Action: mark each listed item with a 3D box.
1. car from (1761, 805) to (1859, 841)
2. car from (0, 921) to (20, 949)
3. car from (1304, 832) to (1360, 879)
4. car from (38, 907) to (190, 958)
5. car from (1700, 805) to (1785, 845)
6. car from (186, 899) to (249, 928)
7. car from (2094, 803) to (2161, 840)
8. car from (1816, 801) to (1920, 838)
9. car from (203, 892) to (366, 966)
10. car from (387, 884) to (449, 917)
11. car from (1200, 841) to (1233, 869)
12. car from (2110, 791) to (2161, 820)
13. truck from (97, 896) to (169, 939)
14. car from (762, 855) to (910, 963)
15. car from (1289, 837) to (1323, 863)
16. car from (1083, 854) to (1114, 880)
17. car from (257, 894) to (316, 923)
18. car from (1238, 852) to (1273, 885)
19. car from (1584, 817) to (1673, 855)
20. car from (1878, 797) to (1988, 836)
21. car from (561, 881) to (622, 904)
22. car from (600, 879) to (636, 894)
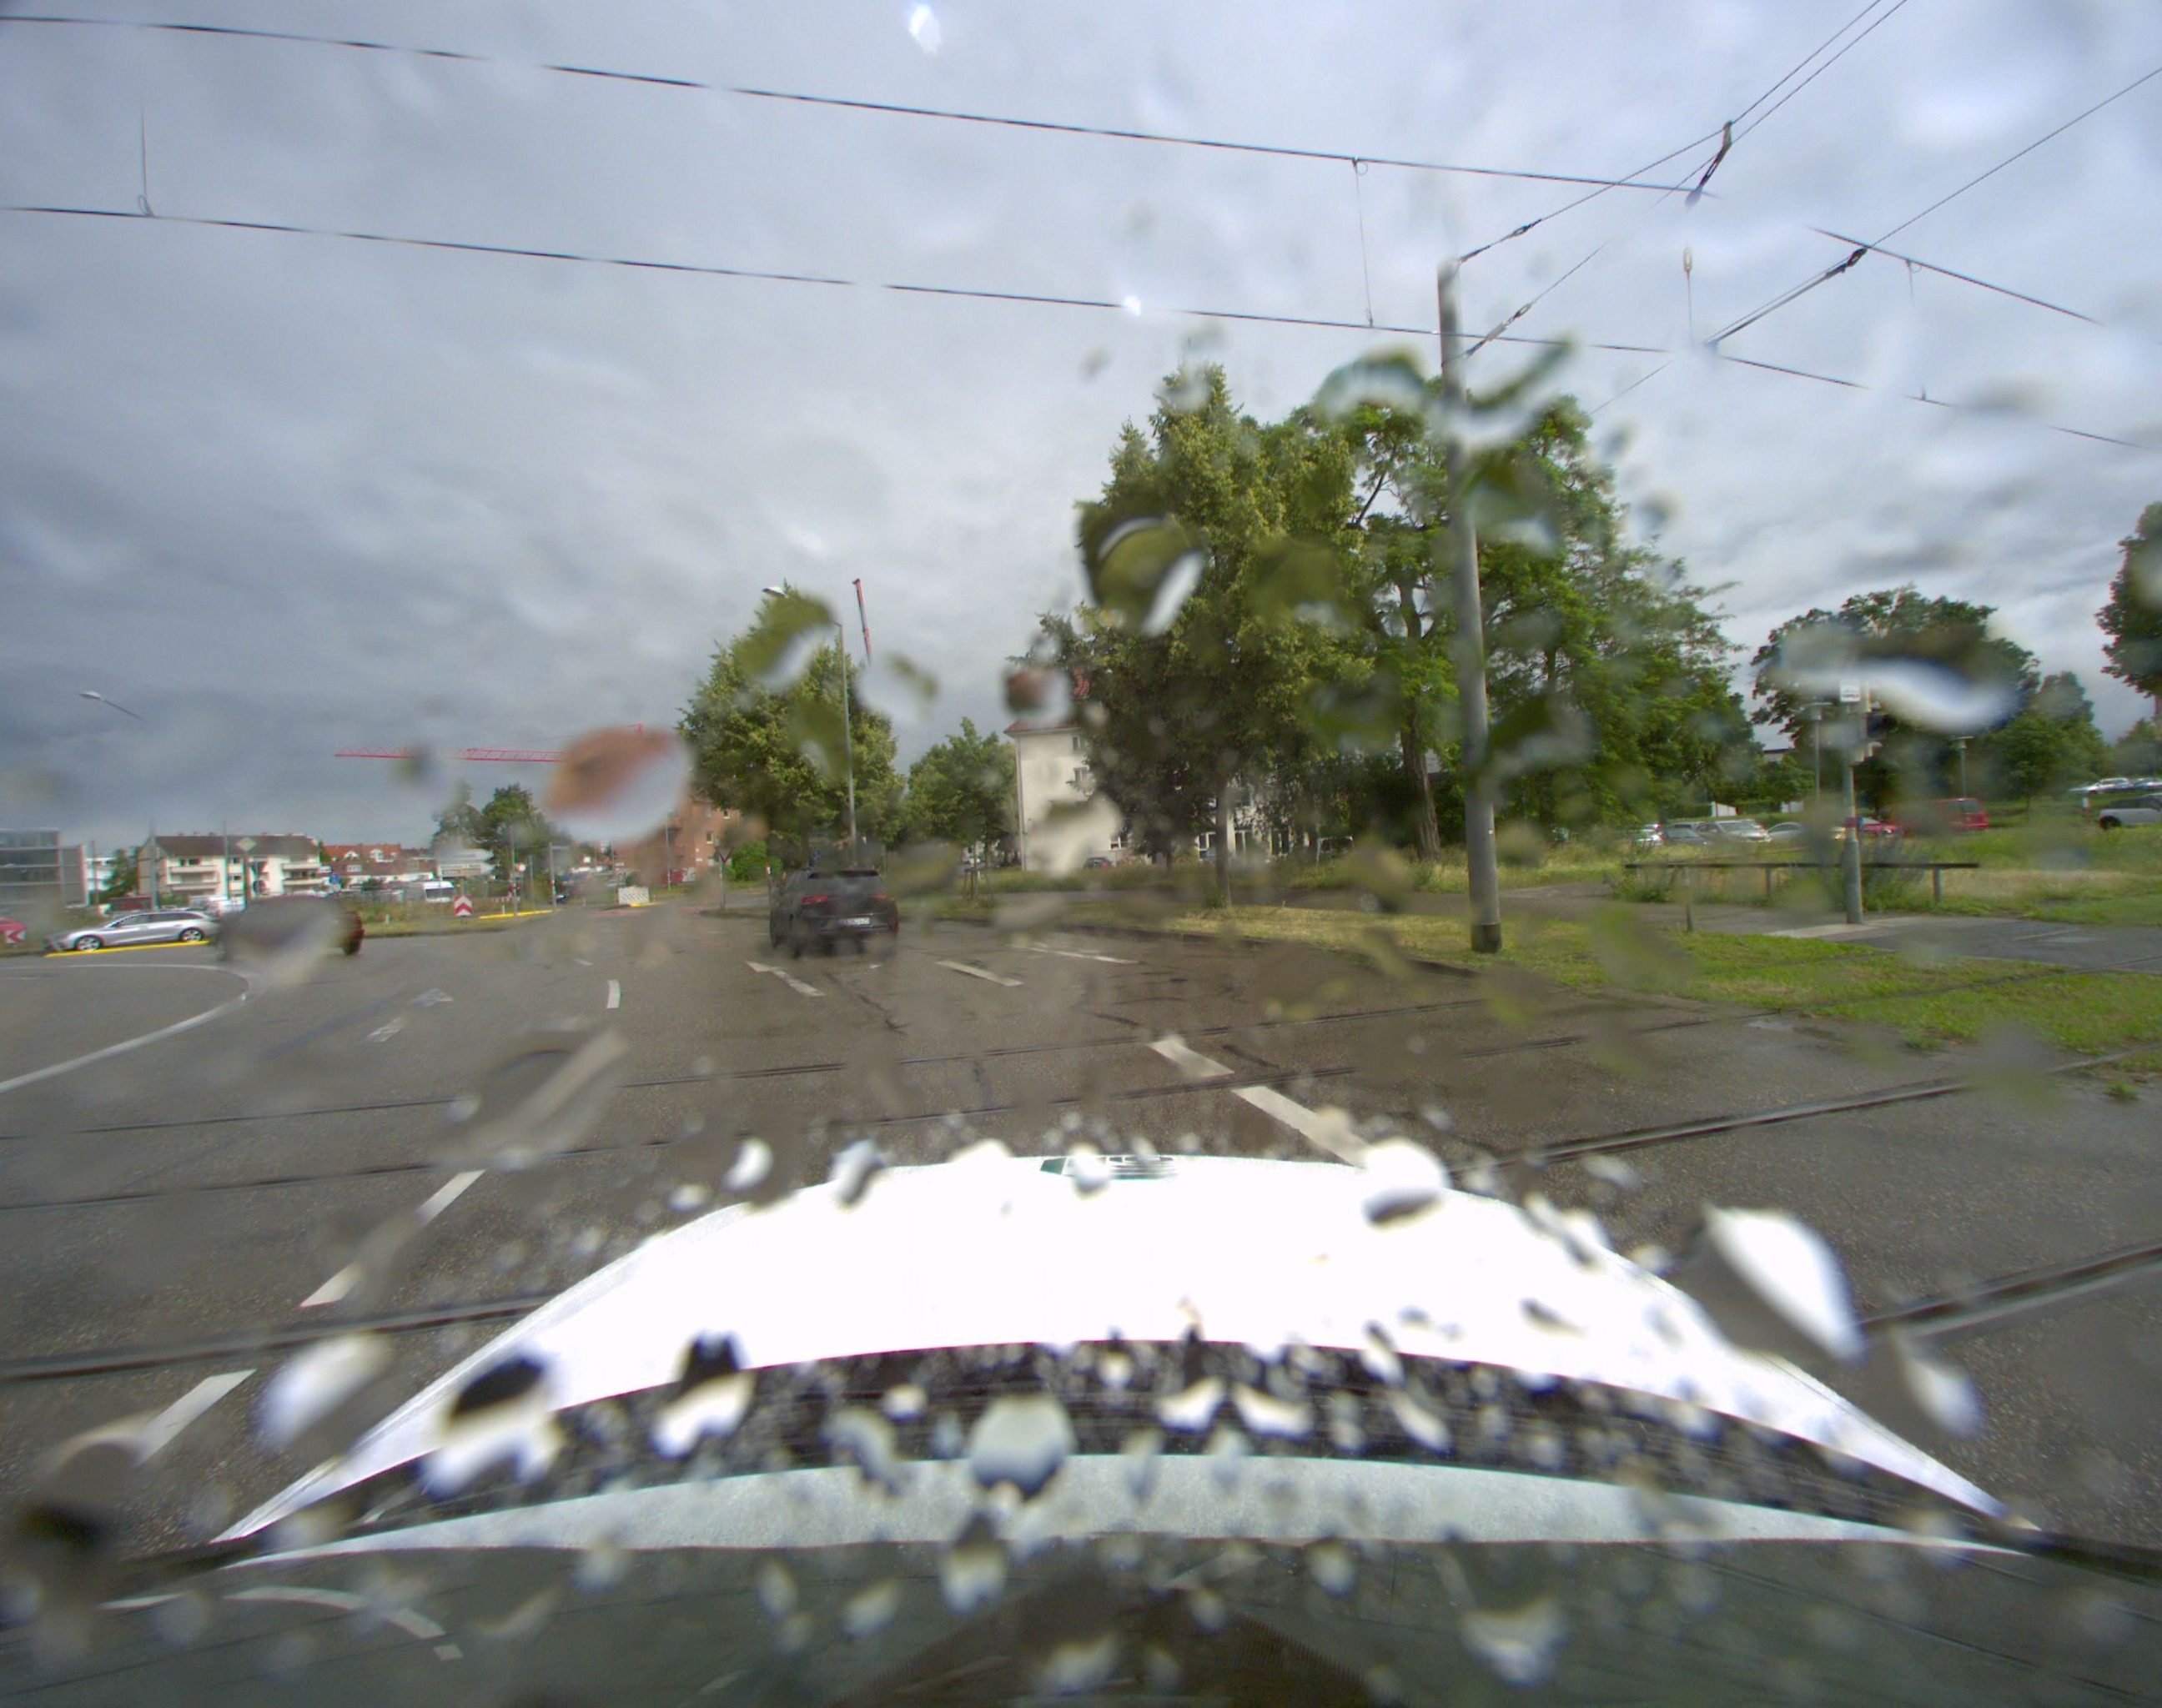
[{"bbox_3d":[32.927,-1.367,36.908,1.629,1.461,3.622,-3,0,11],"label":"car"},{"bbox_3d":[-62.921,4.711,45.453,1.834,1.510,4.218,-1,1,28],"label":"car"},{"bbox_3d":[12.426,-0.012,40.646,2.092,2.057,5.179,-4,1,12],"label":"car"},{"bbox_3d":[-38.172,3.073,32.254,1.580,1.560,3.572,-3,1,29],"label":"car"},{"bbox_3d":[30.714,-1.292,37.941,1.535,1.659,3.662,-3,0,12],"label":"car"},{"bbox_3d":[-58.004,3.974,54.720,3.949,1.700,1.869,-1,1,27],"label":"car"},{"bbox_3d":[47.439,-1.456,35.508,1.783,1.527,4.009,-3,0,8],"label":"car"},{"bbox_3d":[35.446,-1.538,36.822,1.629,1.461,3.622,-3,0,11],"label":"car"},{"bbox_3d":[-19.022,1.773,19.425,3.948,1.462,1.731,-4,1,30],"label":"car"},{"bbox_3d":[-48.709,3.343,59.765,6.184,2.085,2.056,-1,1,37],"label":"car"},{"bbox_3d":[8.690,0.032,52.441,1.836,1.552,4.115,-3,2,7],"label":"car"},{"bbox_3d":[61.377,-2.803,45.972,1.783,1.527,4.009,-3,0,8],"label":"car"},{"bbox_3d":[-58.042,3.793,49.839,6.022,2.211,2.413,-1,1,37],"label":"truck"},{"bbox_3d":[-4.733,0.942,15.346,1.908,1.617,3.964,-4,0,-27],"label":"car"},{"bbox_3d":[14.197,-0.278,51.518,1.648,1.345,3.592,-3,3,10],"label":"car"},{"bbox_3d":[1.192,0.812,53.561,1.662,1.482,3.745,-3,0,5],"label":"car"},{"bbox_3d":[-54.225,3.679,55.557,3.948,1.700,1.942,-1,1,32],"label":"car"},{"bbox_3d":[8.762,0.705,40.983,1.593,1.510,3.632,-3,0,11],"label":"car"},{"bbox_3d":[25.322,-0.805,37.859,1.834,1.559,3.988,-3,0,8],"label":"car"},{"bbox_3d":[37.911,-1.625,36.362,1.633,1.510,3.664,-3,0,14],"label":"car"},{"bbox_3d":[-41.574,3.228,69.262,1.596,1.632,4.084,-4,0,40],"label":"car"},{"bbox_3d":[-54.678,3.885,96.315,3.529,1.519,1.602,-3,0,-27],"label":"car"}]
